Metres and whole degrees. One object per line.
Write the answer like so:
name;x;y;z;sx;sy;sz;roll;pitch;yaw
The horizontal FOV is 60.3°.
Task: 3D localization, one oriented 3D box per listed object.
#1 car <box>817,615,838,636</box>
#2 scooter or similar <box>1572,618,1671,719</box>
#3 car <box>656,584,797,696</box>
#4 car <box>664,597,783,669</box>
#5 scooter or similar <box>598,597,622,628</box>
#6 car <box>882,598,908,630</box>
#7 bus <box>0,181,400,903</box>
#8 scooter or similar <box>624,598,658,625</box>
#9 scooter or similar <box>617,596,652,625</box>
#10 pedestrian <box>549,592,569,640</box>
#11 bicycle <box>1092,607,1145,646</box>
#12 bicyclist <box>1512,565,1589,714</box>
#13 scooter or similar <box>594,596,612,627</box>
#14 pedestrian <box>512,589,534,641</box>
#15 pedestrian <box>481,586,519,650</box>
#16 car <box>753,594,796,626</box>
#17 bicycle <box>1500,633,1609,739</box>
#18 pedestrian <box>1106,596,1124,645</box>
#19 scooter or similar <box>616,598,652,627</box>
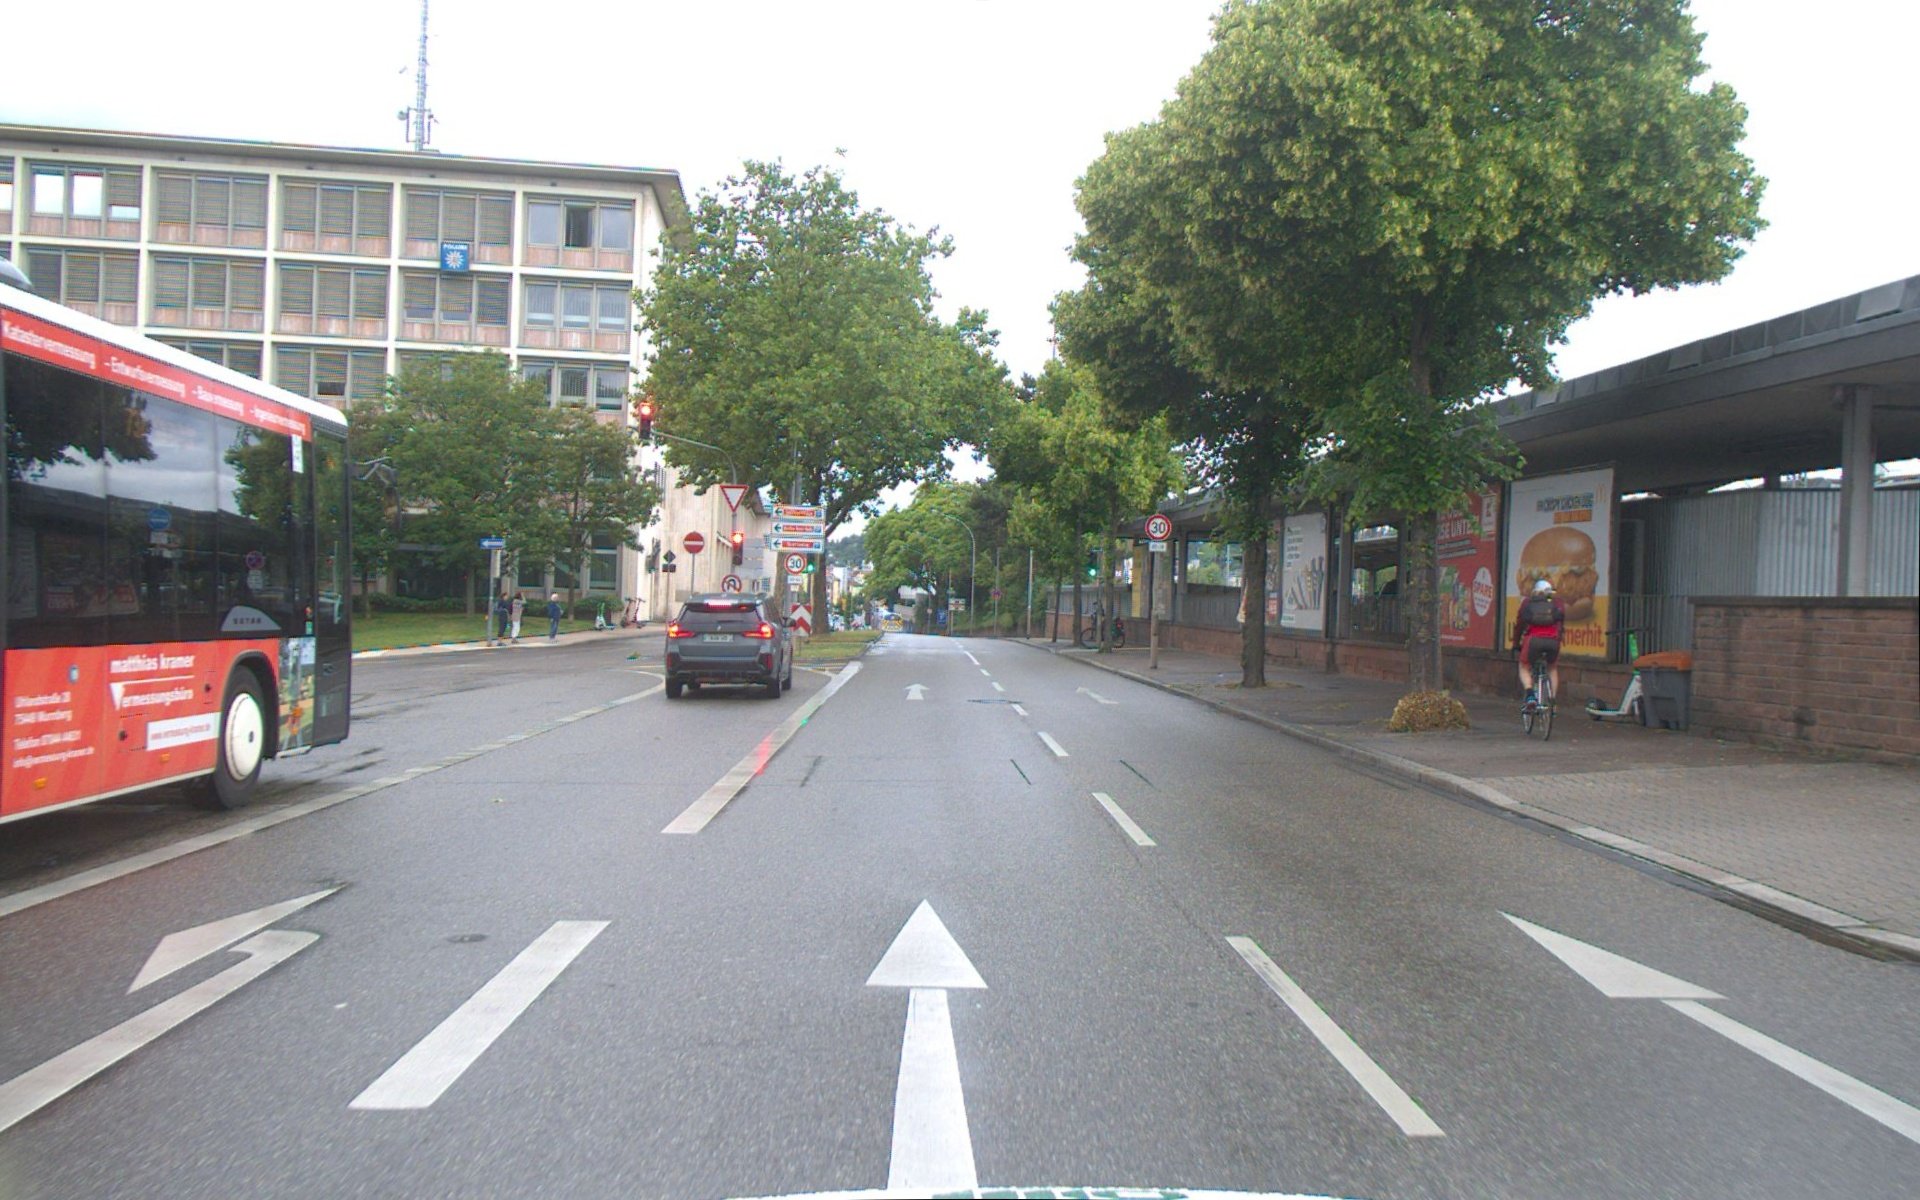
car;-11.243;2.161;140.105;1.786;1.689;4.333;1;-1;-5
scooter or similar;8.101;0.818;20.308;0.483;1.173;1.544;1;0;-4
car;-3.716;0.610;27.019;1.925;1.668;4.355;1;0;-4
car;-5.051;0.657;34.904;1.787;1.434;4.392;1;0;-18
scooter or similar;-14.061;0.497;66.479;0.558;1.213;1.574;1;0;1
car;-5.742;1.217;146.050;2.219;2.703;3.997;1;0;-4
bus;-6.125;-0.292;8.396;2.896;3.499;12.551;1;0;-3
scooter or similar;-14.082;0.493;73.055;0.596;1.185;1.525;1;0;31
scooter or similar;-14.113;0.449;71.730;0.596;1.213;1.525;1;0;31
pedestrian;-13.763;0.533;56.800;0.642;1.631;0.922;1;0;-13
bicycle;5.251;0.866;54.791;1.688;1.271;0.485;1;0;30
bicyclist;6.363;0.418;17.835;0.523;1.565;0.694;-1;0;-5
scooter or similar;-13.999;0.456;64.866;0.479;1.188;1.500;1;0;-6
pedestrian;-14.798;0.515;56.010;0.641;1.740;0.795;1;0;-10
pedestrian;-15.243;0.588;54.838;0.915;2.081;0.873;1;0;5
car;-9.180;0.469;82.046;1.804;1.534;4.101;1;0;-2
bicycle;6.318;0.891;17.653;0.437;1.034;1.676;-1;0;-4
pedestrian;5.107;0.657;54.349;0.448;1.596;0.392;1;0;30
scooter or similar;-13.872;0.524;70.423;0.596;1.213;1.525;1;0;31
